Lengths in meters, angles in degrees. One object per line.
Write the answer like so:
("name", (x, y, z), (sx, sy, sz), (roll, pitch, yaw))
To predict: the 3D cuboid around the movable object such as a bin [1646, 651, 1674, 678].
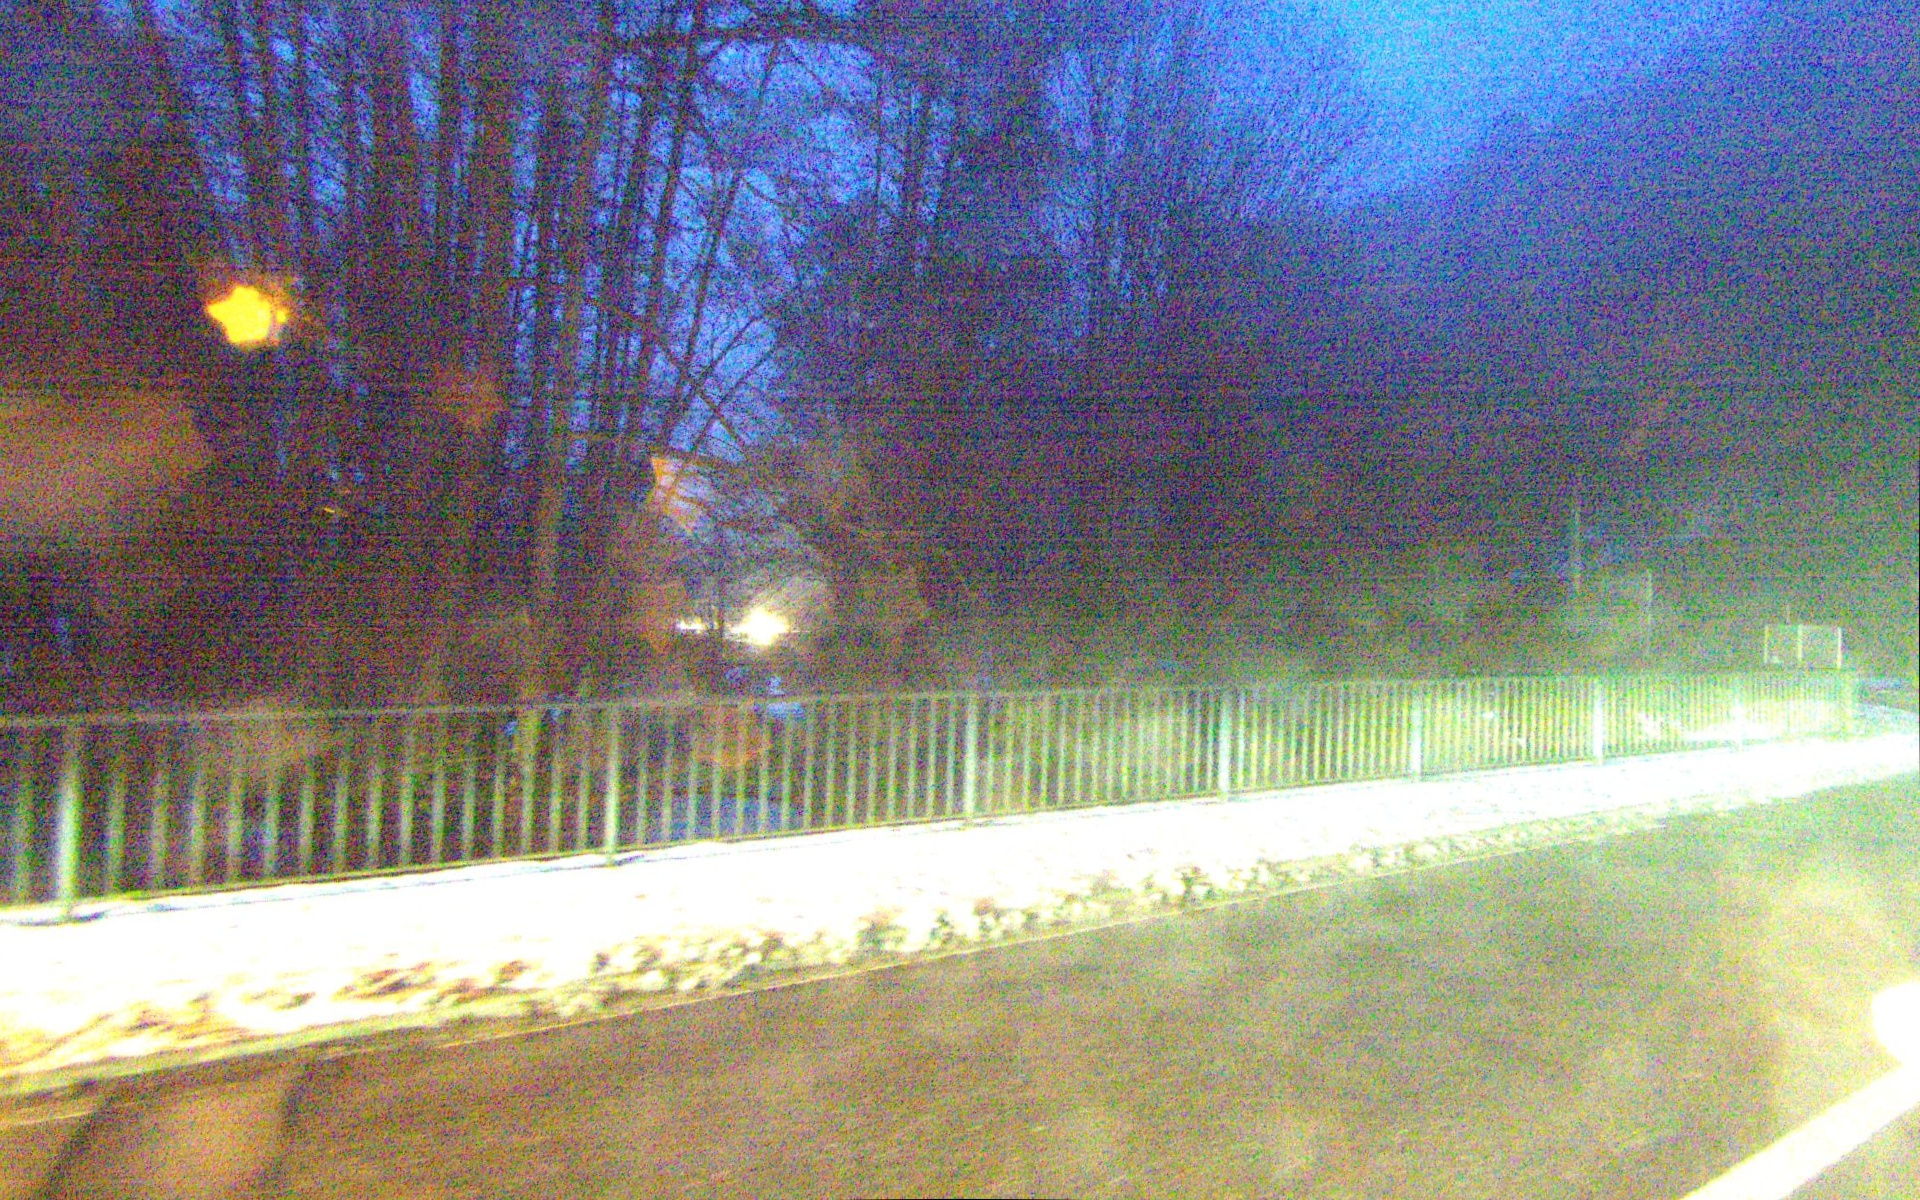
("movable object such as a bin", (36.460, 3.353, 52.316), (1.212, 1.342, 1.149), (-1, -1, 36))
